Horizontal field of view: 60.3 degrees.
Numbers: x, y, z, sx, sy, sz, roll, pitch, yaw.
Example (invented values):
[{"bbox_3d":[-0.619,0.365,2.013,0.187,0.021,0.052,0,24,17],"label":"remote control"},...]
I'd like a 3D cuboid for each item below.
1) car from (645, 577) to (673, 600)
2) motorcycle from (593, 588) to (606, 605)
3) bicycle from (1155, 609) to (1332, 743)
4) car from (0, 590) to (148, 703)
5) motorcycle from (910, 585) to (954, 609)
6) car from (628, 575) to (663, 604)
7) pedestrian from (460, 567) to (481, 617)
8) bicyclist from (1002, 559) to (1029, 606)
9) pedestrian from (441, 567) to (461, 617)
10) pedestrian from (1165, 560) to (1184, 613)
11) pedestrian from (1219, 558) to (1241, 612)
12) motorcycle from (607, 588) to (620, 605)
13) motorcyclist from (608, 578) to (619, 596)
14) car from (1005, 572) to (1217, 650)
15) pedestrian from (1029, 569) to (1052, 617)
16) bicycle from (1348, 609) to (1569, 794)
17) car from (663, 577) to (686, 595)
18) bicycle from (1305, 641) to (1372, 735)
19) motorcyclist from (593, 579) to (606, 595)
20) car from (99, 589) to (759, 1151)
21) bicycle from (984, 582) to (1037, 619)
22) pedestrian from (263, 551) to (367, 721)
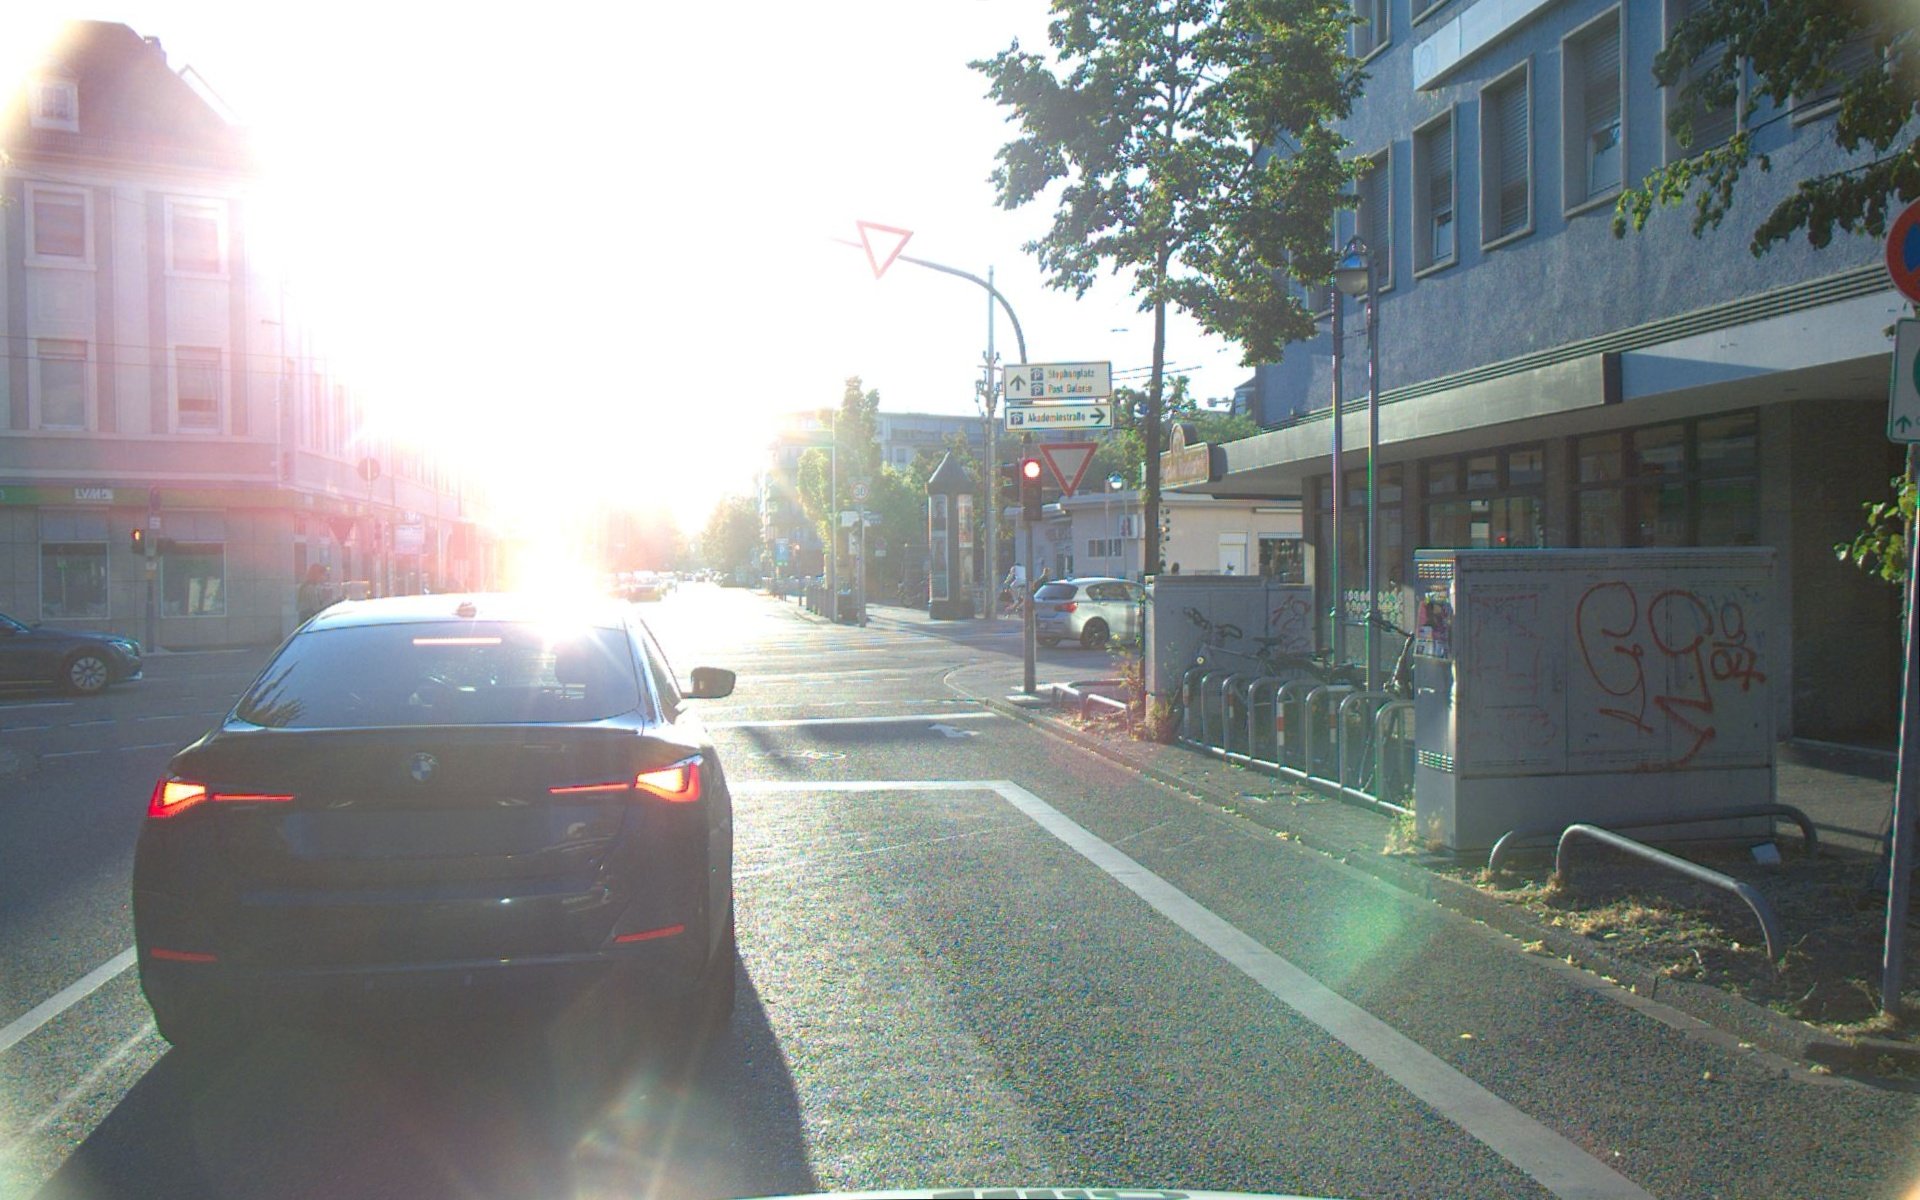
[{"bbox_3d":[-20.565,-0.791,113.089,1.784,1.545,3.992,-1,1,-9],"label":"car"},{"bbox_3d":[-20.495,-0.202,93.945,0.564,0.931,2.196,1,0,-8],"label":"motorcycle"},{"bbox_3d":[2.621,0.691,15.304,1.582,1.191,0.318,-1,1,-7],"label":"bicycle"},{"bbox_3d":[-13.861,0.650,23.067,4.368,1.499,1.796,-1,1,-34],"label":"car"},{"bbox_3d":[-1.160,-0.137,67.919,1.644,0.955,0.851,-1,1,-20],"label":"motorcycle"},{"bbox_3d":[-17.930,-0.621,94.422,1.784,1.545,3.992,-1,1,-9],"label":"car"},{"bbox_3d":[-19.180,-0.312,64.841,0.664,1.909,0.616,1,0,-9],"label":"pedestrian"},{"bbox_3d":[1.802,-0.559,53.315,0.545,1.507,0.713,1,0,-36],"label":"bicyclist"},{"bbox_3d":[-19.843,-0.321,64.525,0.631,1.909,0.631,1,0,-9],"label":"pedestrian"},{"bbox_3d":[7.169,-0.465,55.342,0.438,1.765,0.429,1,0,-34],"label":"pedestrian"},{"bbox_3d":[8.944,-0.495,54.746,0.474,1.765,0.525,1,0,-34],"label":"pedestrian"},{"bbox_3d":[-19.607,-0.183,93.573,0.564,0.931,2.196,1,0,-8],"label":"motorcycle"},{"bbox_3d":[-19.581,-0.723,93.462,0.564,1.013,0.701,1,0,-9],"label":"motorcyclist"},{"bbox_3d":[3.251,0.188,35.282,4.270,1.524,1.976,-1,1,-35],"label":"car"},{"bbox_3d":[2.628,-0.234,54.023,0.717,1.555,0.473,1,0,3],"label":"pedestrian"},{"bbox_3d":[3.442,0.699,11.439,1.413,1.241,0.383,1,0,-8],"label":"bicycle"},{"bbox_3d":[-24.220,-1.203,140.418,1.784,1.545,3.992,-1,1,-9],"label":"car"},{"bbox_3d":[3.546,0.809,15.535,0.244,0.810,1.114,1,0,-7],"label":"bicycle"},{"bbox_3d":[-20.486,-0.743,93.959,0.564,0.931,2.196,1,0,-8],"label":"motorcyclist"},{"bbox_3d":[-1.757,0.693,6.549,1.705,1.453,4.214,0,1,-10],"label":"car"},{"bbox_3d":[1.632,0.014,53.545,0.545,1.179,2.118,1,0,-35],"label":"bicycle"},{"bbox_3d":[-7.534,0.401,19.312,0.990,1.892,0.634,-3,2,-29],"label":"pedestrian"}]
